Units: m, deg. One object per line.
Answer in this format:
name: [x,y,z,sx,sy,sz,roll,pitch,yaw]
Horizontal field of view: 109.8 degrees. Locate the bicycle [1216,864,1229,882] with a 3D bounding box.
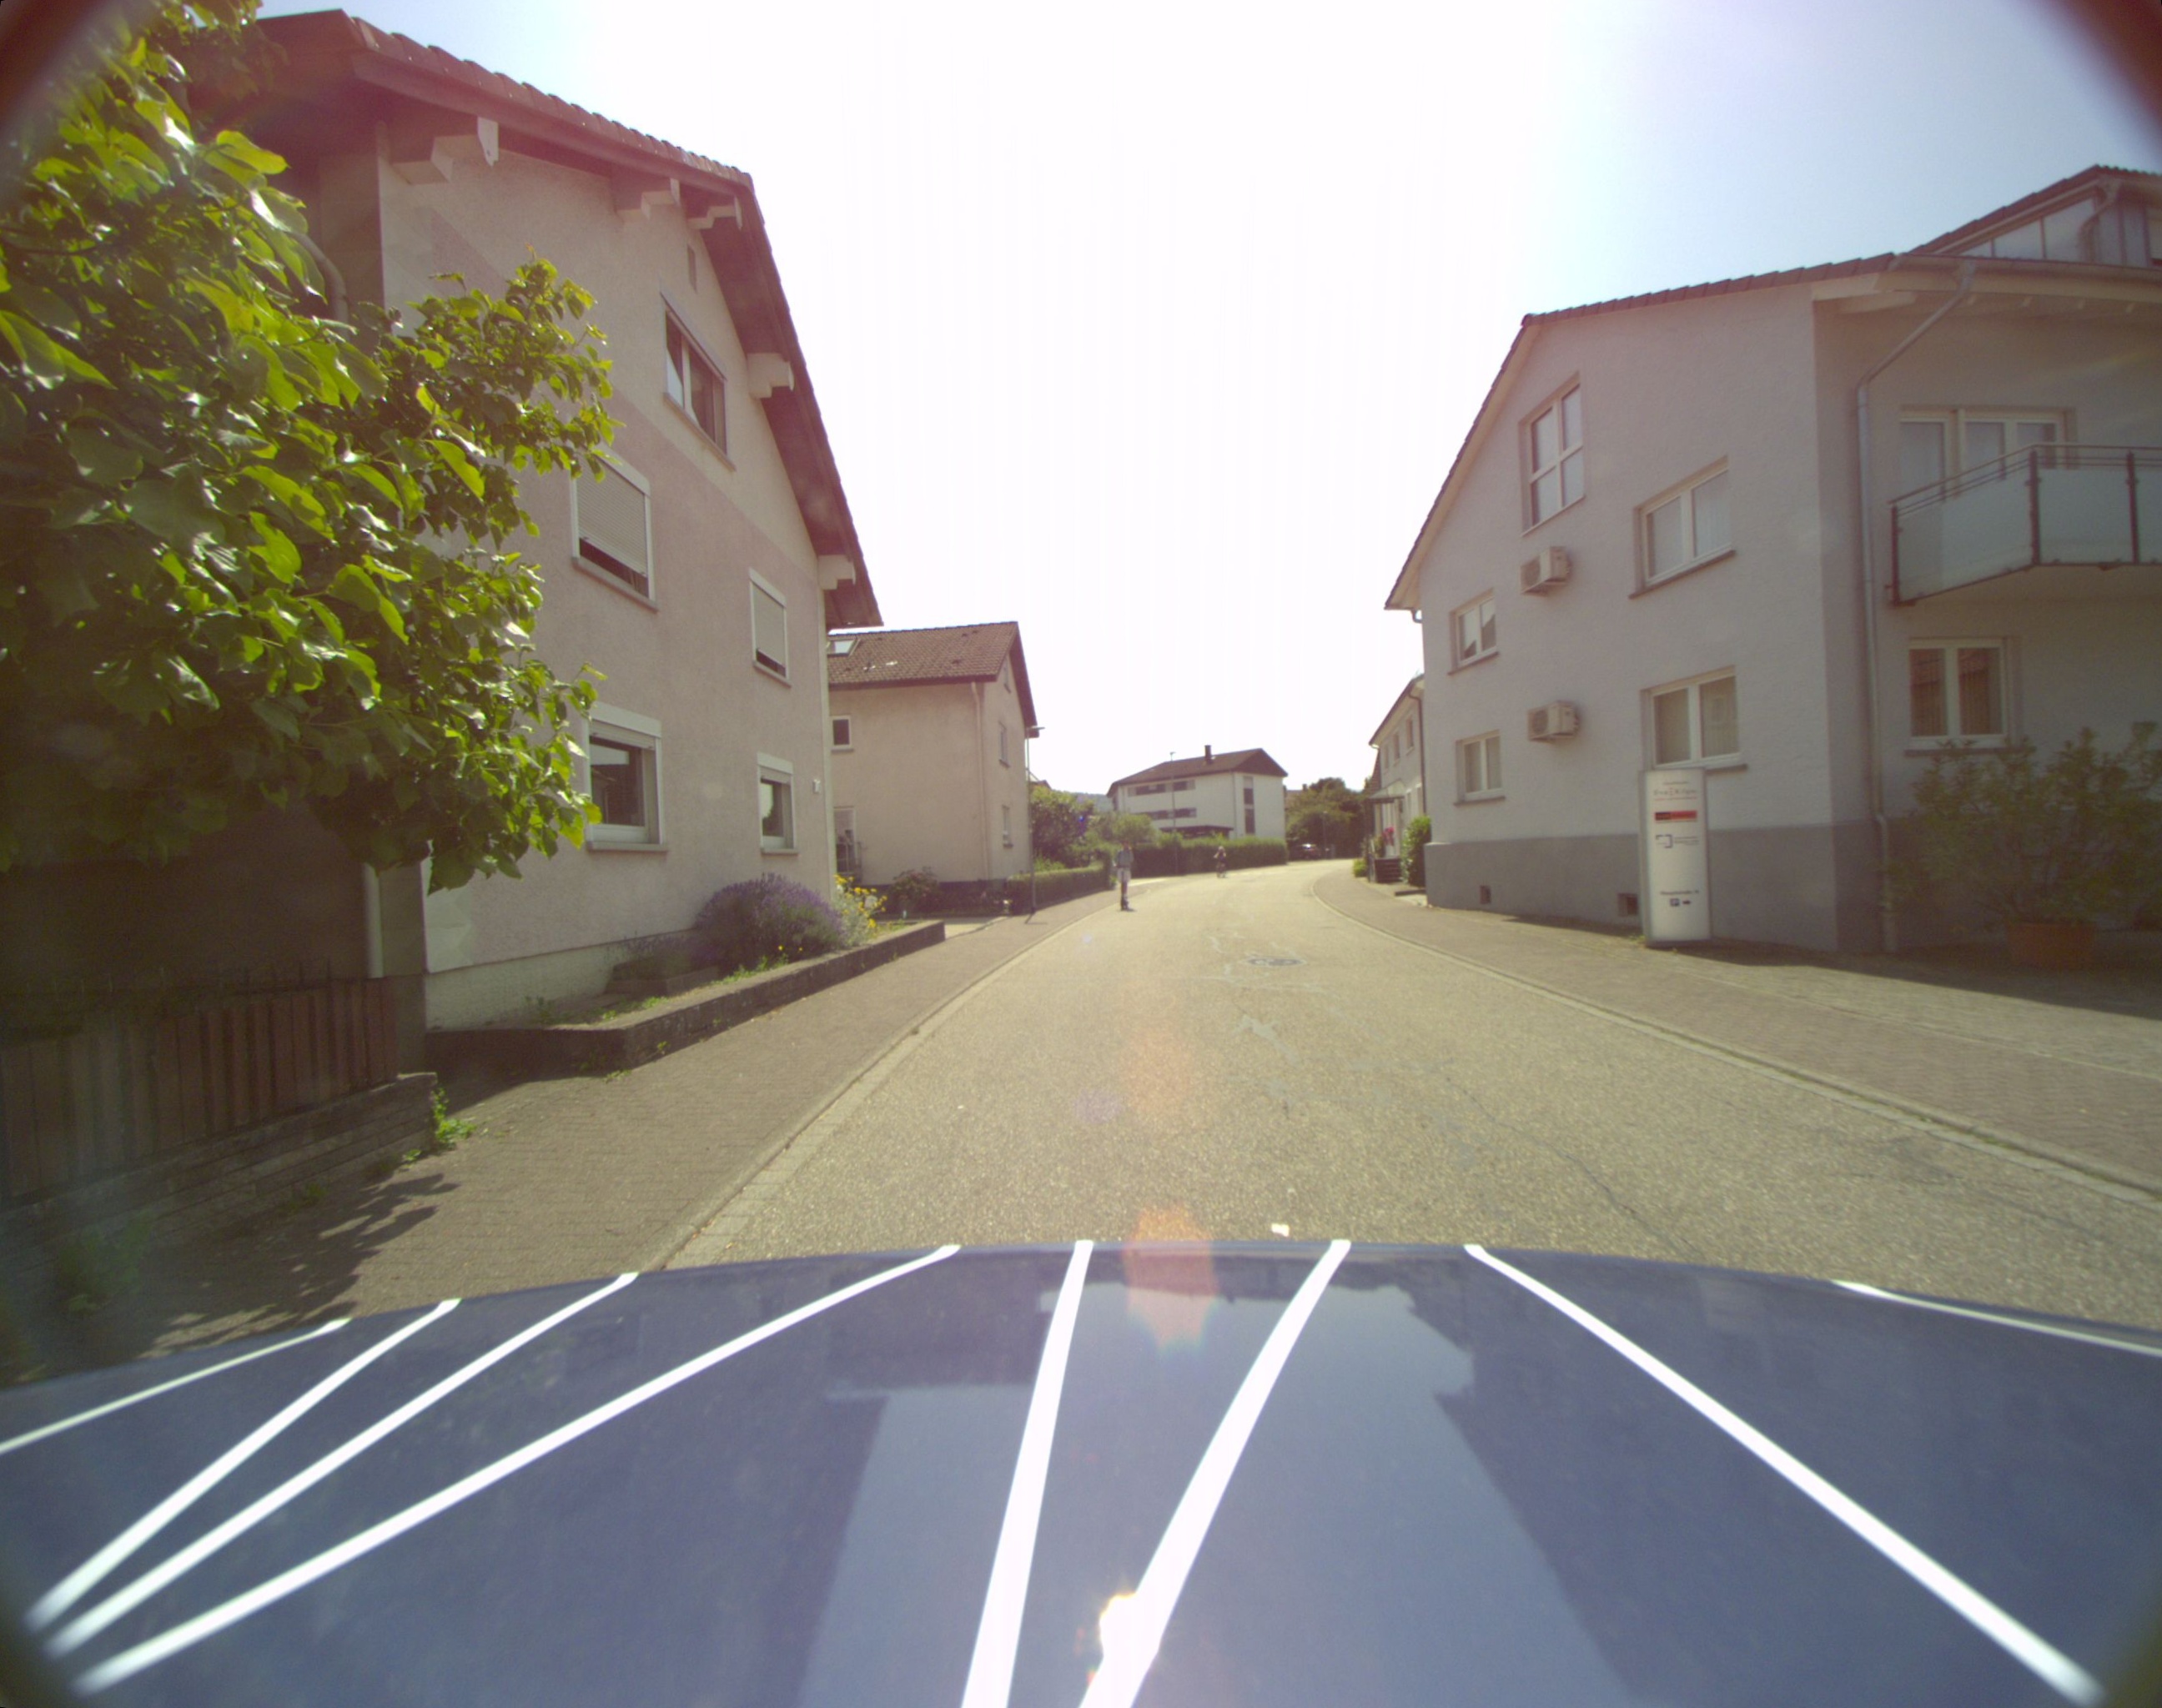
bicycle: [7.754,1.022,41.591,0.521,0.898,1.315,-2,0,18]

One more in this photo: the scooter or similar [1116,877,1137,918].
scooter or similar: [1.261,1.208,21.231,0.542,1.083,0.691,-2,0,2]

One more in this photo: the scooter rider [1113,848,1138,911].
scooter rider: [1.231,0.696,21.226,0.617,1.714,0.640,-2,1,2]

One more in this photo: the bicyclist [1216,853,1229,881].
bicyclist: [7.775,0.723,41.696,0.546,1.481,0.798,-2,1,18]

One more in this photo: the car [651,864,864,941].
car: [-6.728,0.975,16.073,3.757,1.452,1.680,-1,0,-1]

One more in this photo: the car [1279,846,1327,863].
car: [22.615,0.052,77.445,4.280,1.662,2.070,-1,1,36]
